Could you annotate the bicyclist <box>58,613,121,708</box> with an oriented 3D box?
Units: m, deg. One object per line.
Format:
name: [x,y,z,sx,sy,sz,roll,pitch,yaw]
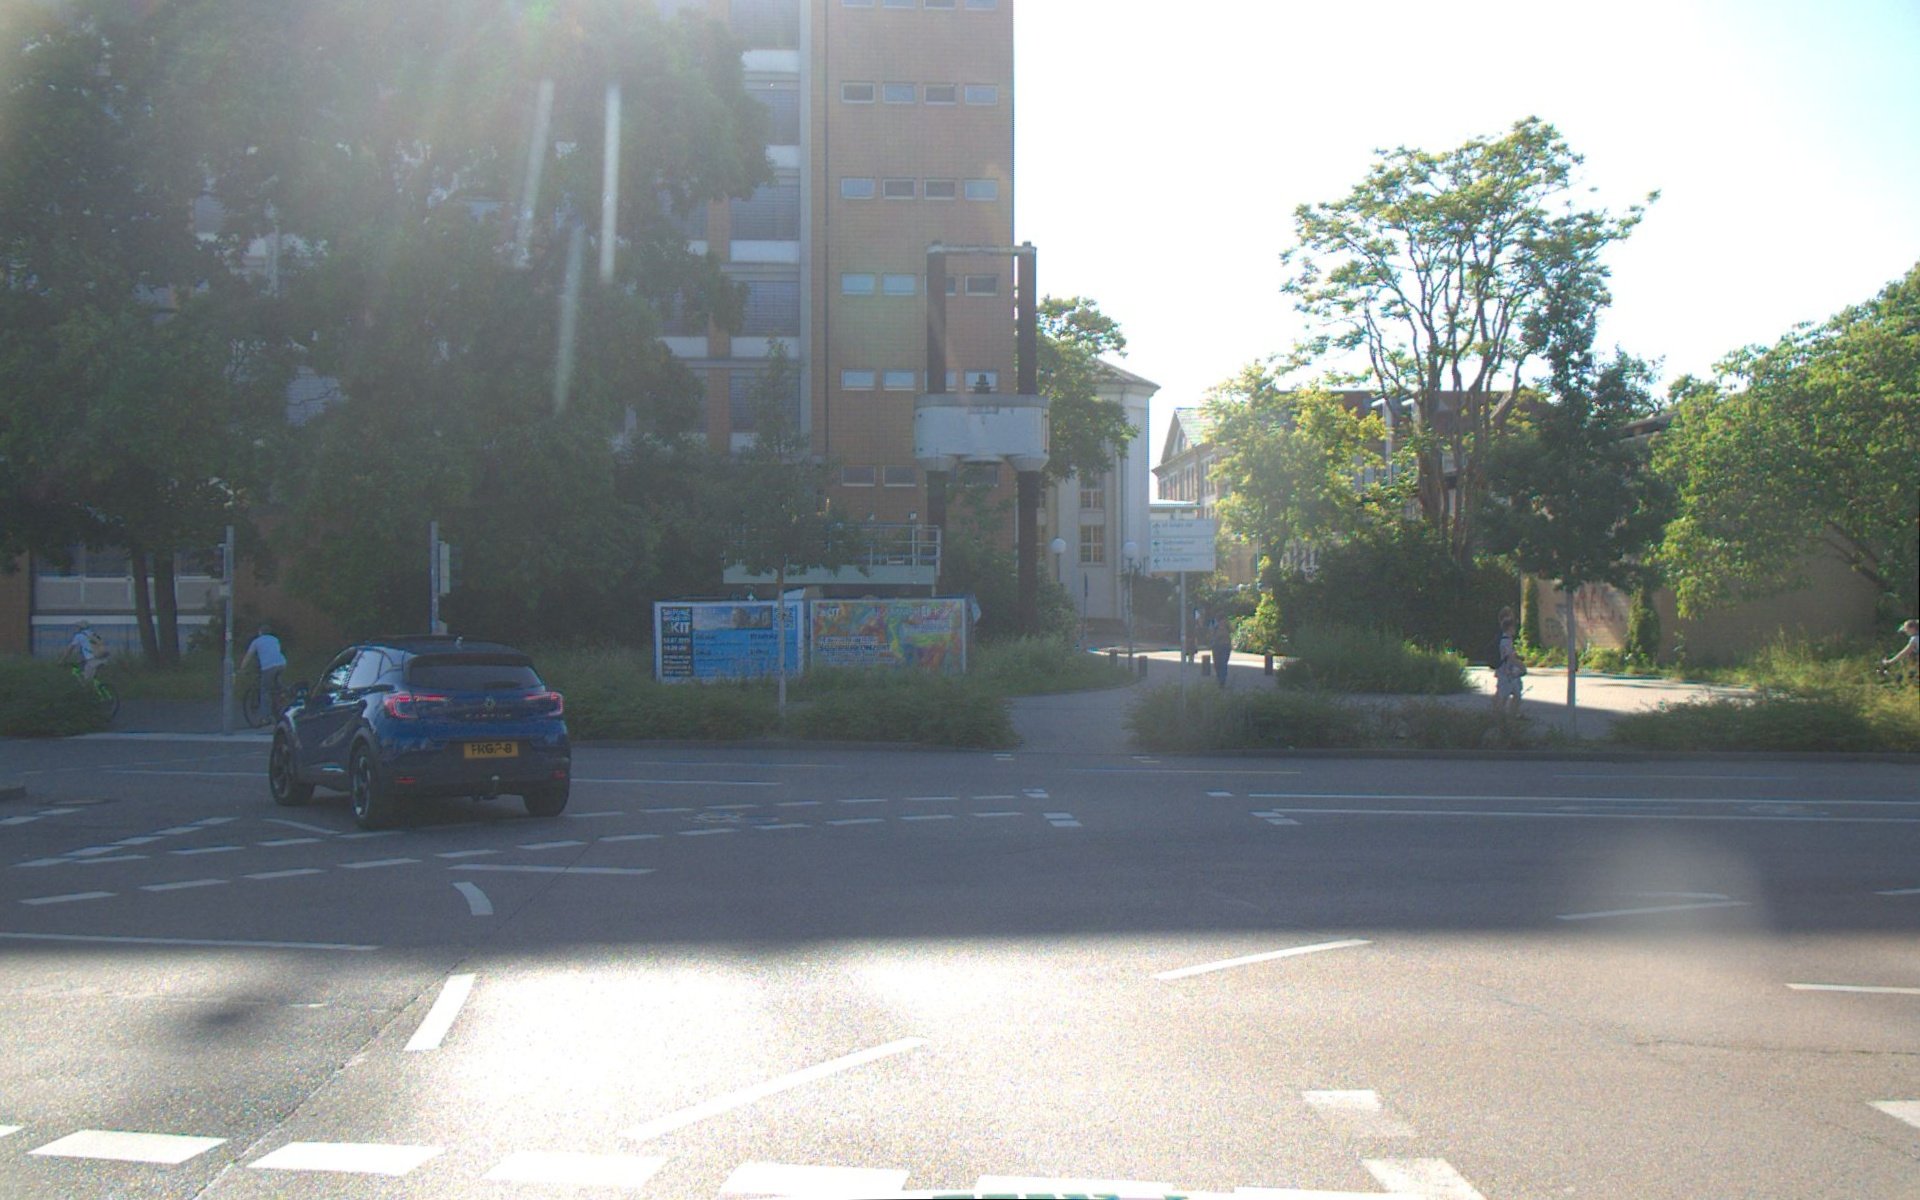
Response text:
bicyclist: [-16.900,1.159,32.122,0.957,1.793,0.720,0,-1,34]

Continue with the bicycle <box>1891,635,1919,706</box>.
bicycle: [17.295,1.215,28.679,1.909,1.185,0.644,-1,2,11]

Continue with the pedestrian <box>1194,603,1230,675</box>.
pedestrian: [5.959,0.928,39.162,0.662,1.672,0.736,2,-1,21]

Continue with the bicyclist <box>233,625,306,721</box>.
bicyclist: [-12.102,1.262,29.007,0.954,1.645,0.722,0,-1,21]

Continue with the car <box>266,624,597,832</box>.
car: [-4.979,1.099,15.280,1.862,1.646,3.749,0,-2,-36]

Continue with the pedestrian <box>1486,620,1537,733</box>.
pedestrian: [9.127,1.259,27.370,0.718,1.813,0.732,2,-1,16]

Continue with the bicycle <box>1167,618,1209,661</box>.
bicycle: [6.609,1.131,47.833,0.731,1.185,1.869,0,0,24]

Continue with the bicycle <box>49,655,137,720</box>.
bicycle: [-16.806,1.679,32.058,1.831,1.185,0.746,0,-1,34]

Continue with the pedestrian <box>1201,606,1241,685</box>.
pedestrian: [5.711,0.988,36.202,0.662,1.672,0.735,2,-1,23]

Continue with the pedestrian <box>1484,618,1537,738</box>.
pedestrian: [8.759,1.224,26.349,0.718,1.848,0.732,2,-1,16]

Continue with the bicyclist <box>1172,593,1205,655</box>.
bicyclist: [6.602,0.699,47.829,0.705,1.765,0.977,0,-1,24]

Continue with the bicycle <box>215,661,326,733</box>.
bicycle: [-12.091,1.689,28.989,1.826,1.185,0.718,0,-1,22]

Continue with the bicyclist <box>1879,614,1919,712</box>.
bicyclist: [14.716,0.962,25.491,0.635,1.469,0.767,-2,1,-34]

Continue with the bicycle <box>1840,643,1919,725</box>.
bicycle: [14.685,1.302,25.548,0.635,1.185,1.848,-2,1,-34]
